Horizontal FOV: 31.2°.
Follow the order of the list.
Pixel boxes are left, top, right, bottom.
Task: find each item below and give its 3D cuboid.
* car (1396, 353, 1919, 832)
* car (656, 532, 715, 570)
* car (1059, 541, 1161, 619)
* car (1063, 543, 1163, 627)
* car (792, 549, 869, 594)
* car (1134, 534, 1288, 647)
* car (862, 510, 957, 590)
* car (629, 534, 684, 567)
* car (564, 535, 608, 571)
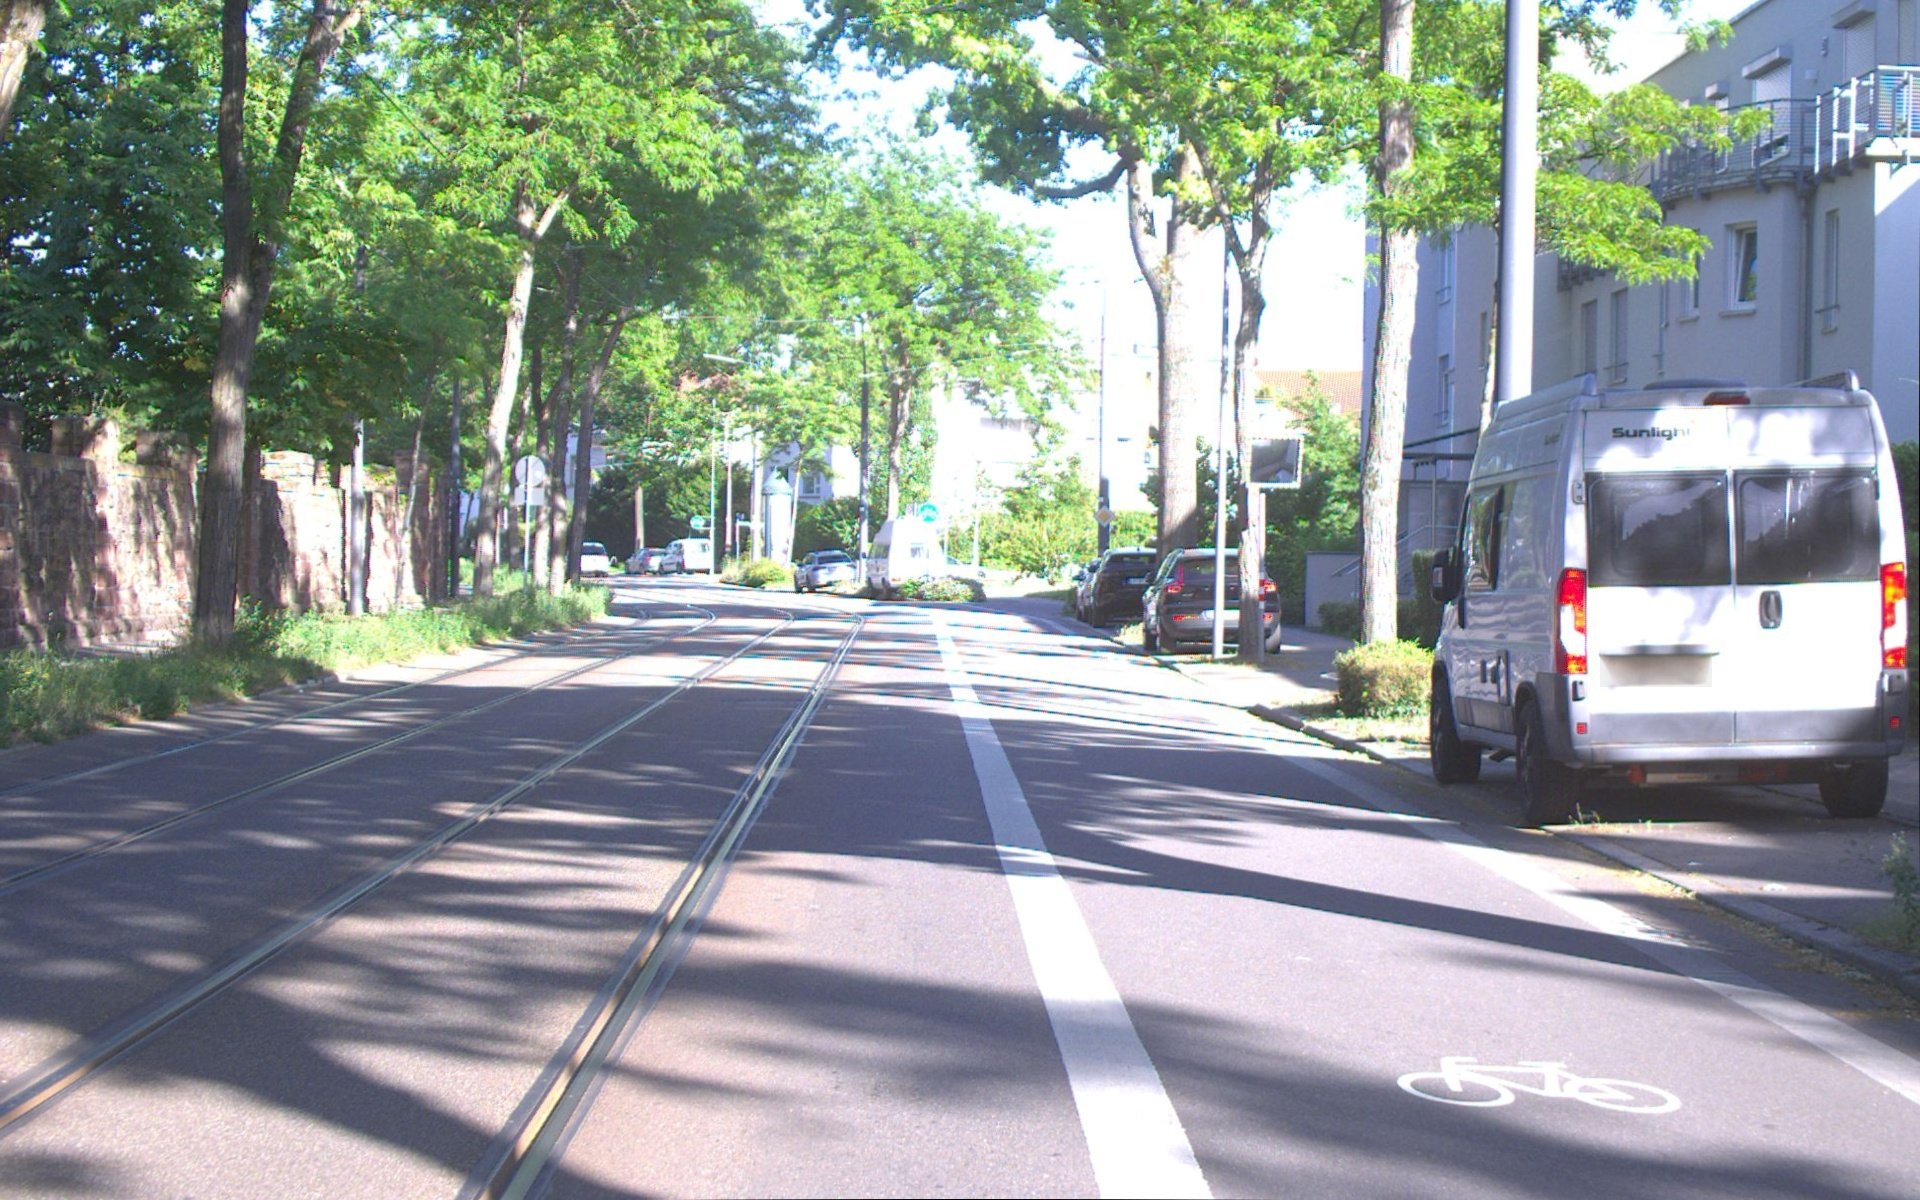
[{"bbox_3d":[4.312,-0.086,21.920,2.245,2.645,5.586,0,1,-1],"label":"car"},{"bbox_3d":[-13.986,-2.495,175.139,2.002,1.903,4.393,-1,1,-18],"label":"car"},{"bbox_3d":[3.341,-0.467,77.301,2.003,1.669,4.392,-1,1,-1],"label":"car"},{"bbox_3d":[3.210,-0.344,71.574,2.003,1.669,4.392,-1,1,3],"label":"car"},{"bbox_3d":[-4.746,-1.048,125.316,2.002,1.555,4.394,0,1,-13],"label":"car"},{"bbox_3d":[3.891,-0.180,54.037,2.003,1.669,4.392,-1,1,-1],"label":"car"},{"bbox_3d":[-1.607,-1.573,107.500,1.993,2.449,4.510,0,1,-14],"label":"car"},{"bbox_3d":[-15.983,-2.589,180.874,2.002,1.669,4.174,-1,1,-18],"label":"car"},{"bbox_3d":[-17.729,-2.246,163.093,1.865,1.669,4.174,1,1,-4],"label":"car"}]
